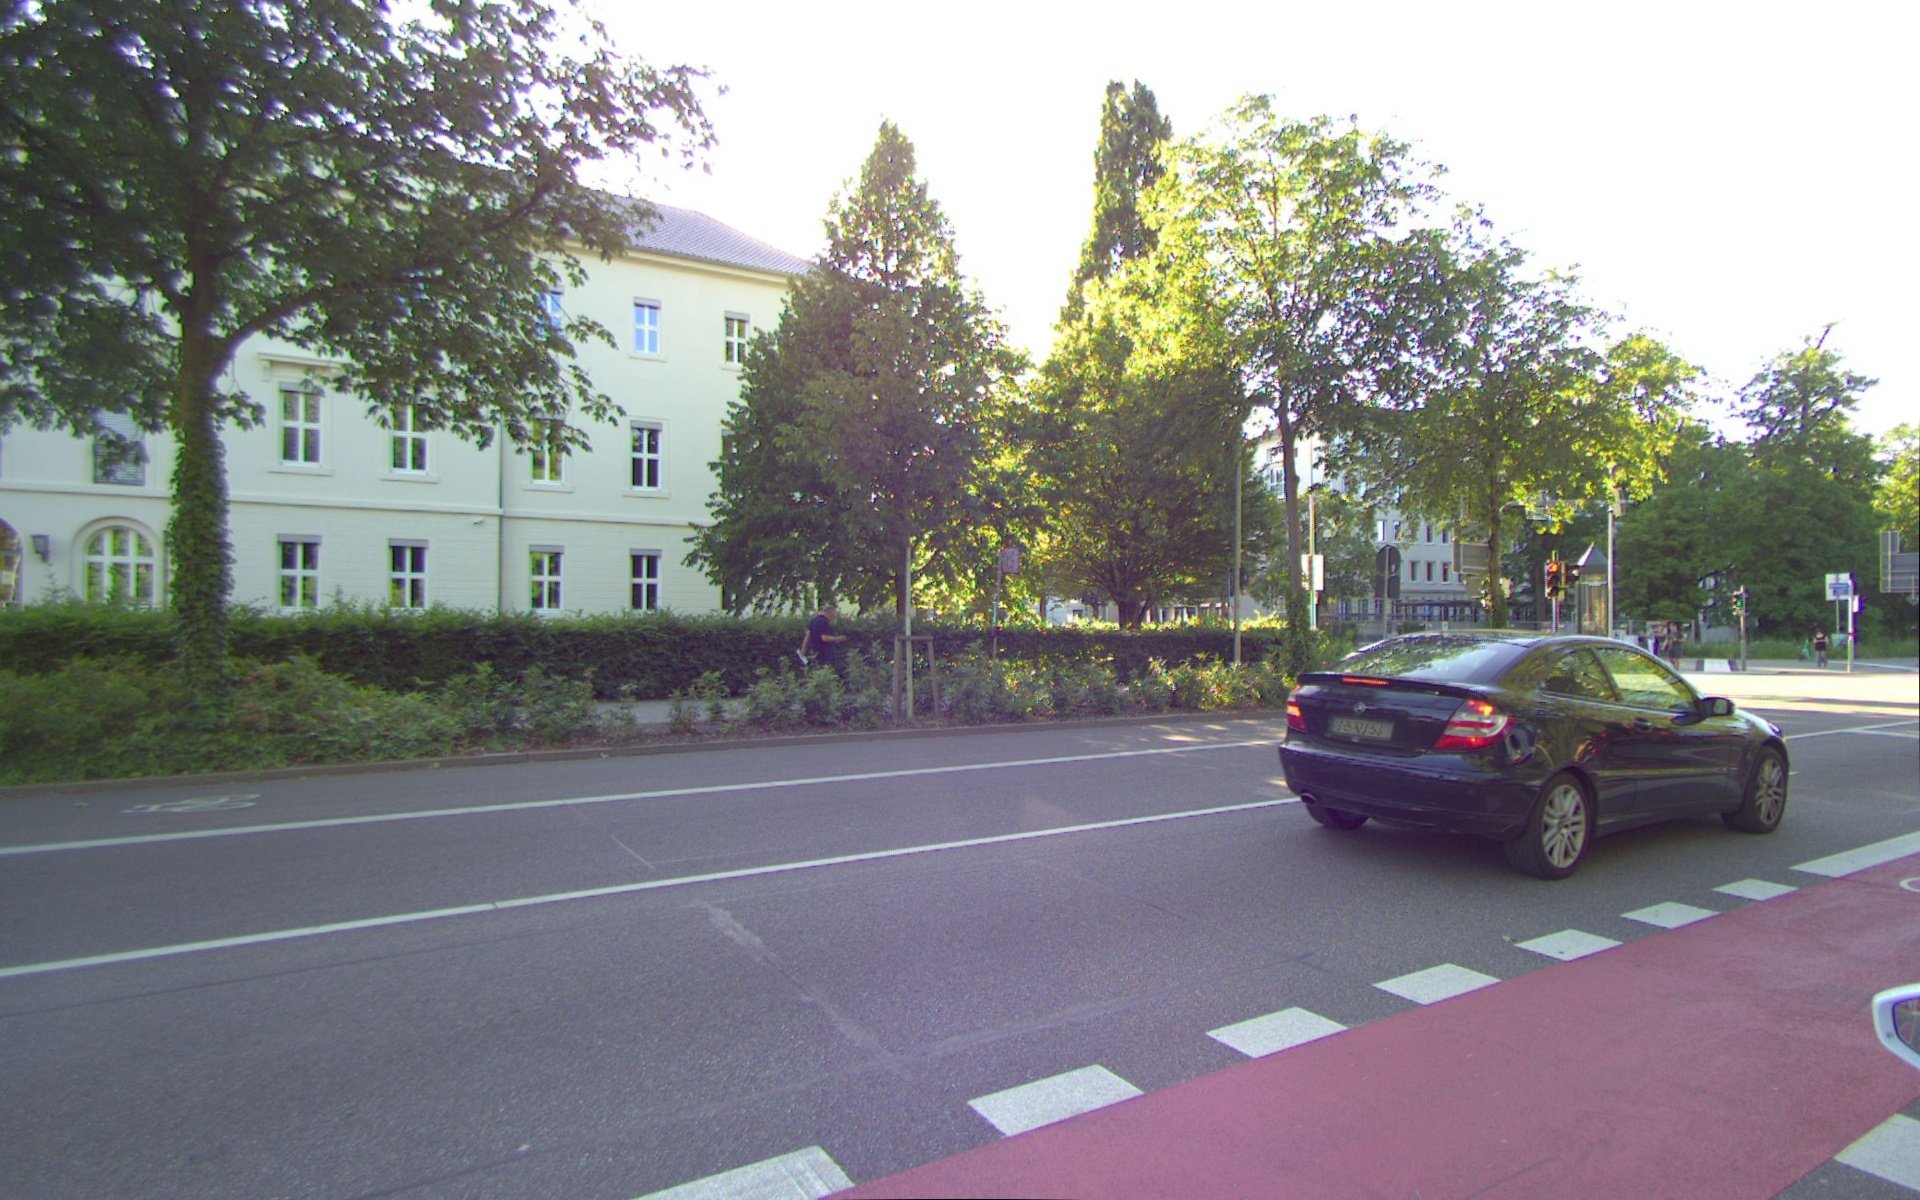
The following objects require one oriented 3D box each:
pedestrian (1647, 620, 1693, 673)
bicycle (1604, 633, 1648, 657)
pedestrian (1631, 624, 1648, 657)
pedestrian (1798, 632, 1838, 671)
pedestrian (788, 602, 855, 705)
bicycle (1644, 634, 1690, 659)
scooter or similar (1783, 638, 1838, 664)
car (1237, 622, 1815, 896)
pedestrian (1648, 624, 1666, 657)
[{"bbox_3d":[27.706,1.800,39.223,1.175,2.040,0.992,1,0,-25],"label":"pedestrian"},{"bbox_3d":[34.288,2.329,51.759,0.439,1.163,1.849,1,-1,-36],"label":"bicycle"},{"bbox_3d":[34.412,2.053,50.869,0.442,1.664,0.624,1,0,-39],"label":"pedestrian"},{"bbox_3d":[36.761,2.194,43.035,0.992,1.624,1.080,1,-2,-36],"label":"pedestrian"},{"bbox_3d":[-2.433,0.915,17.598,0.956,1.743,0.831,1,-2,-27],"label":"pedestrian"},{"bbox_3d":[34.931,2.307,49.666,0.288,1.163,1.849,1,-1,-36],"label":"bicycle"},{"bbox_3d":[39.397,2.371,46.518,1.882,1.139,0.713,1,0,3],"label":"scooter or similar"},{"bbox_3d":[4.098,0.882,7.100,4.214,1.423,1.697,1,-1,-30],"label":"car"},{"bbox_3d":[34.679,2.011,49.983,0.442,1.601,0.624,1,0,-39],"label":"pedestrian"}]
